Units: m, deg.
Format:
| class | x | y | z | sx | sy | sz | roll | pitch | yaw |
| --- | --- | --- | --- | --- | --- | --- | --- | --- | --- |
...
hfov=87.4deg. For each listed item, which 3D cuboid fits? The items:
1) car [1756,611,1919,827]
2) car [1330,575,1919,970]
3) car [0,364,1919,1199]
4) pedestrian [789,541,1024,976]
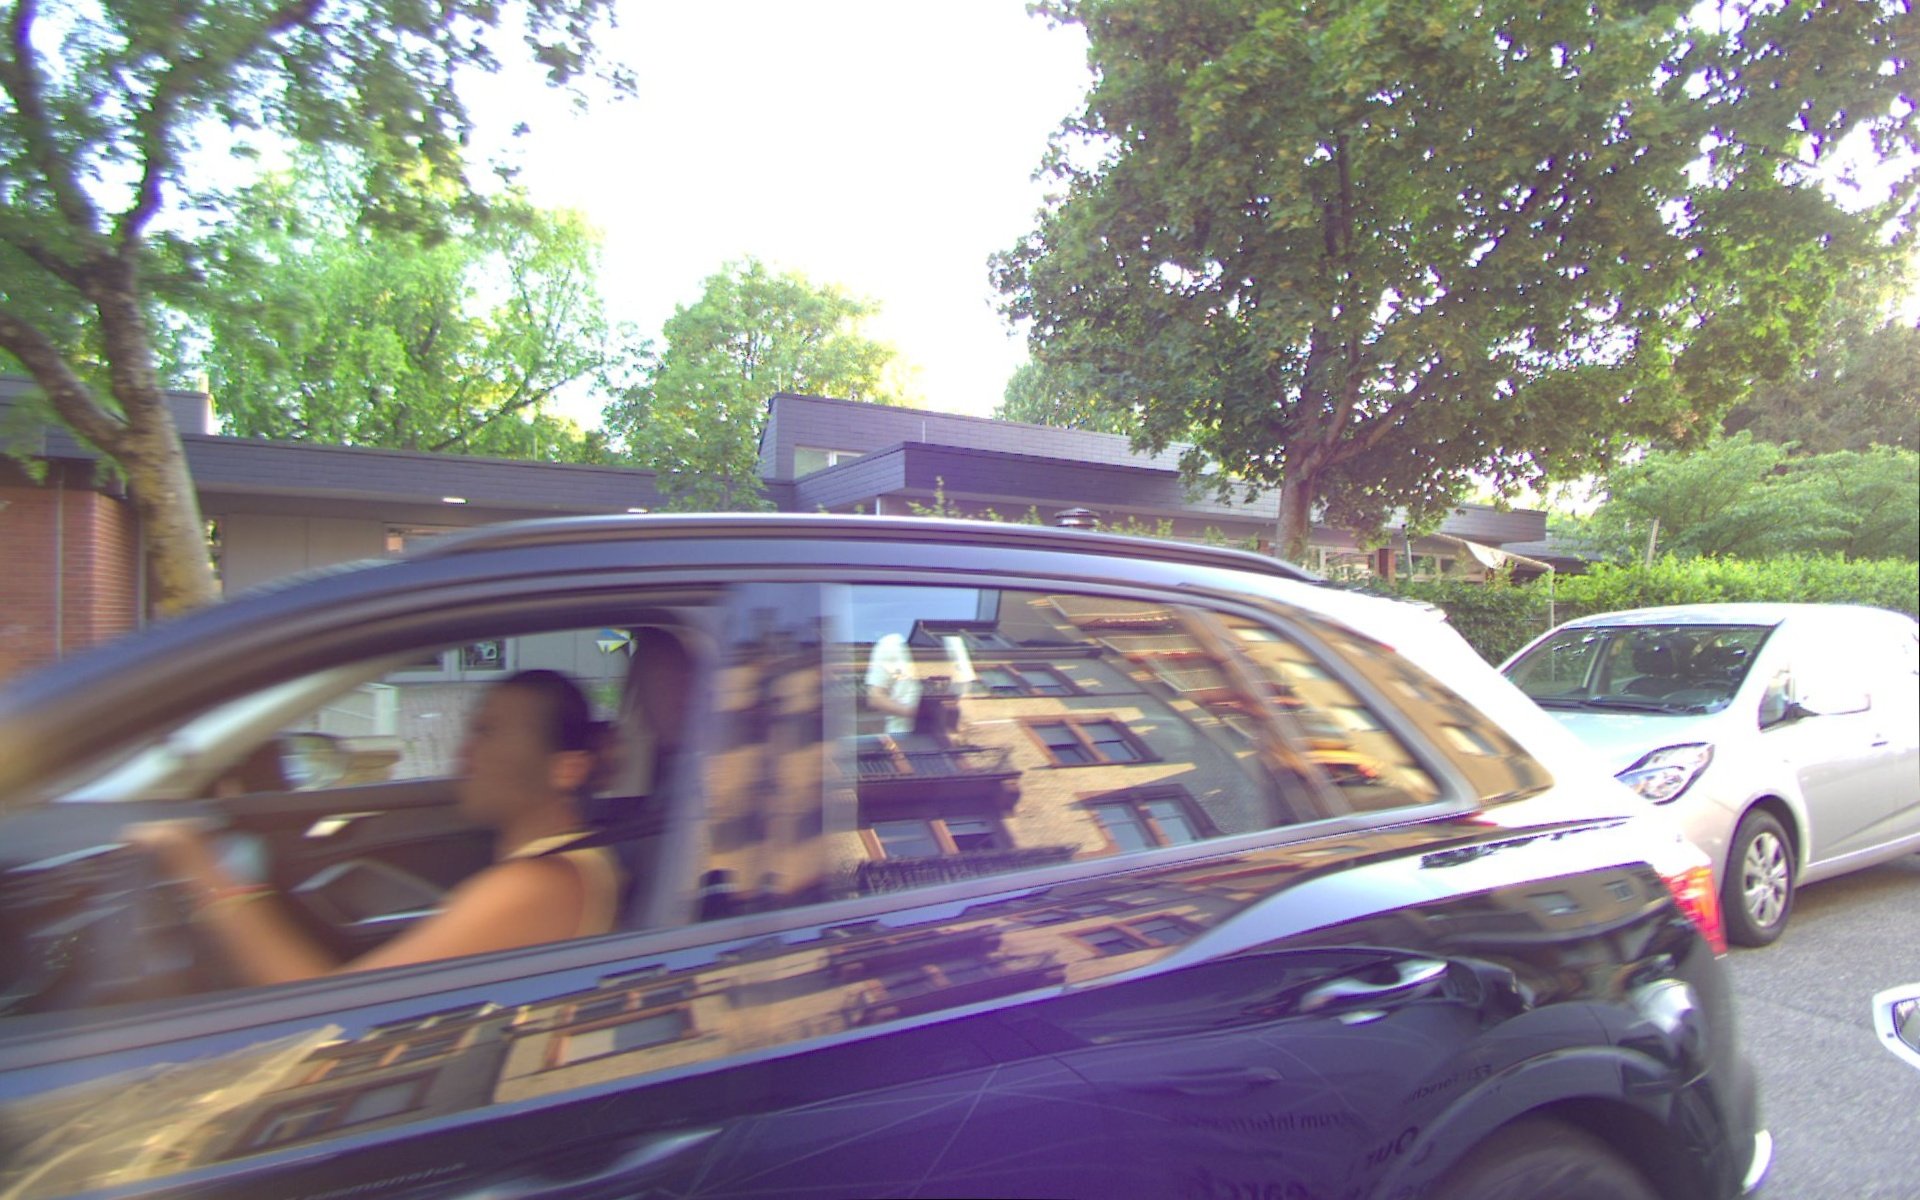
| class | x | y | z | sx | sy | sz | roll | pitch | yaw |
| --- | --- | --- | --- | --- | --- | --- | --- | --- | --- |
| car | 8.669 | 0.902 | 8.489 | 4.056 | 1.575 | 1.845 | 1 | -2 | -33 |
| car | 4.299 | 0.794 | 5.956 | 3.950 | 1.652 | 1.776 | 1 | -3 | -28 |
| car | -0.549 | 0.664 | 1.684 | 4.500 | 1.590 | 1.800 | 1 | -2 | -23 |
| pedestrian | -0.283 | 0.679 | 4.880 | 0.778 | 1.855 | 0.933 | 1 | 0 | -31 |
